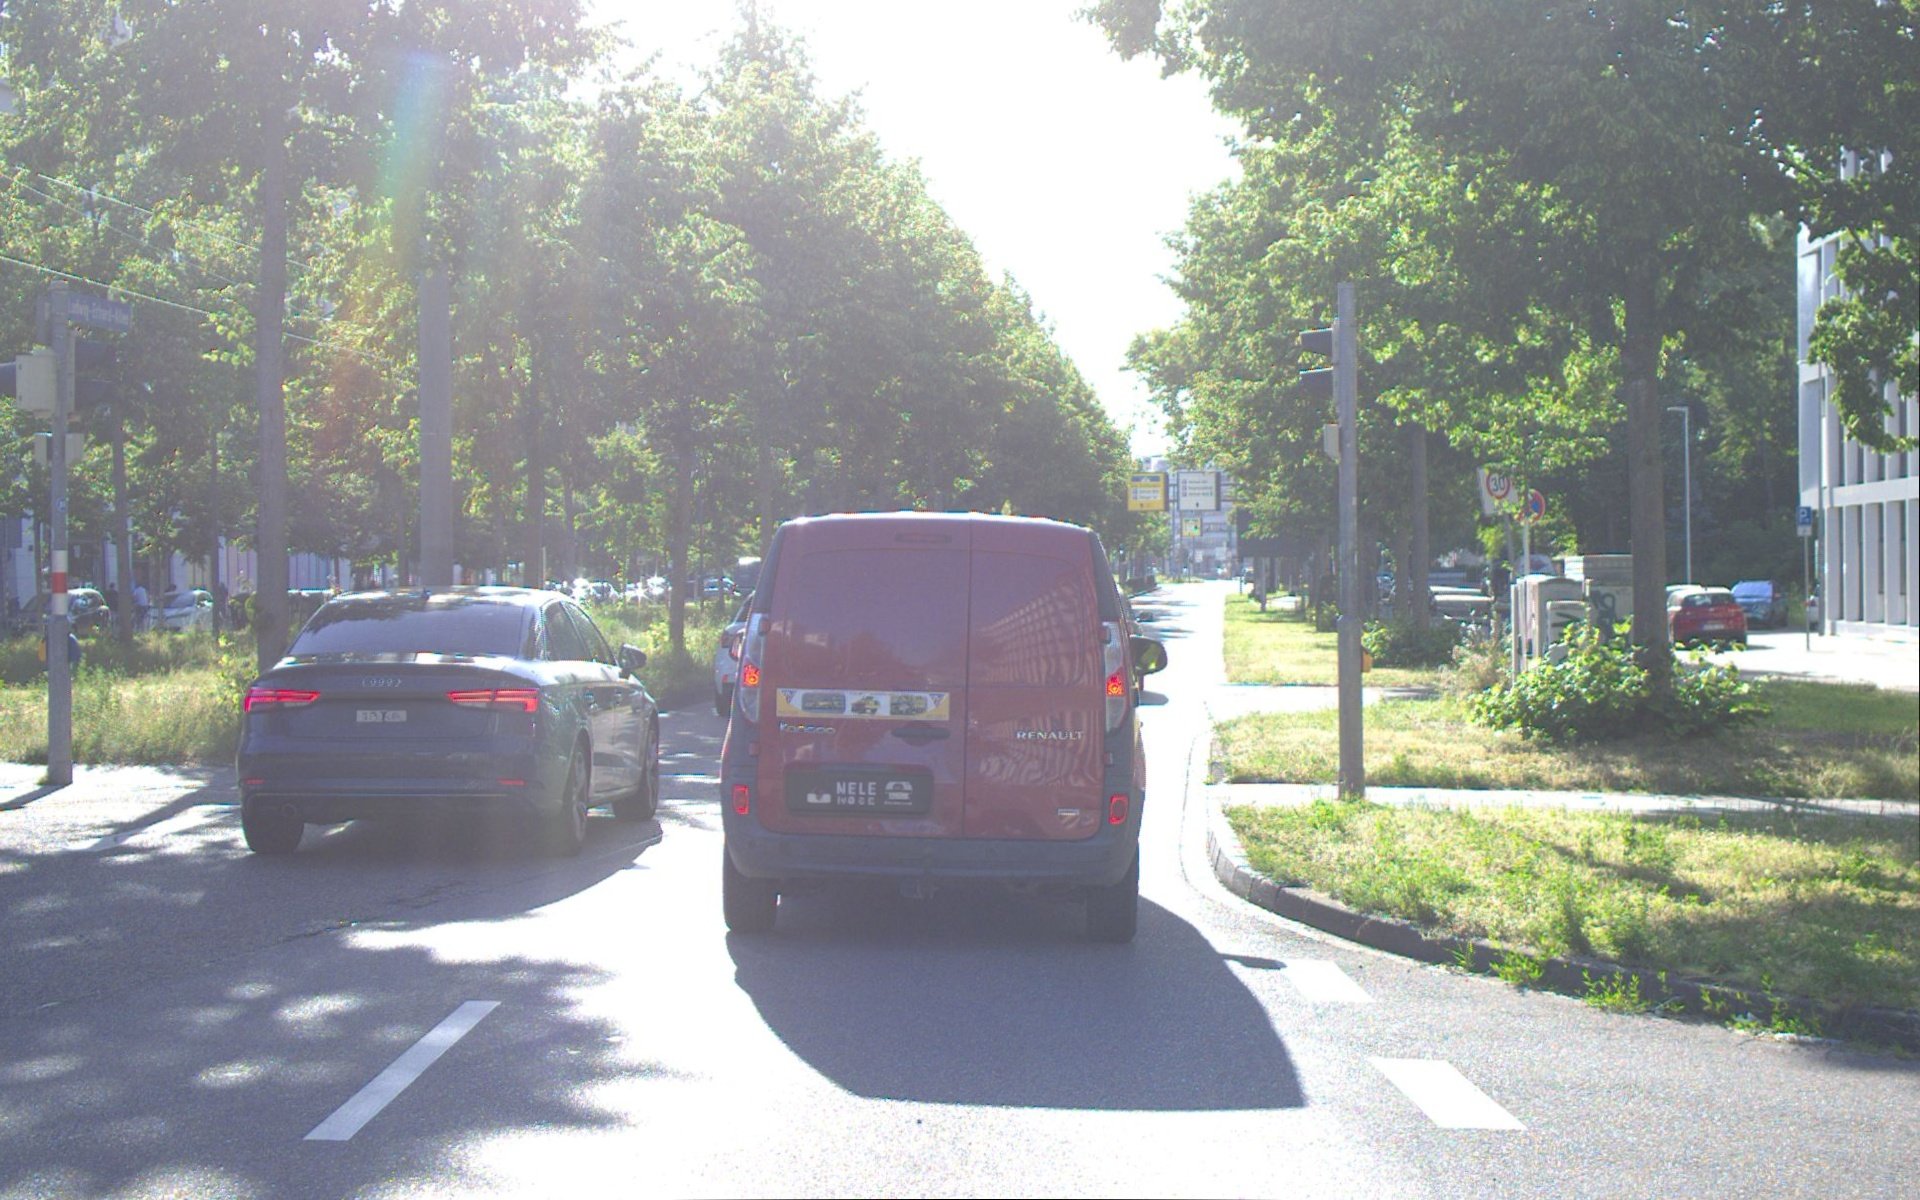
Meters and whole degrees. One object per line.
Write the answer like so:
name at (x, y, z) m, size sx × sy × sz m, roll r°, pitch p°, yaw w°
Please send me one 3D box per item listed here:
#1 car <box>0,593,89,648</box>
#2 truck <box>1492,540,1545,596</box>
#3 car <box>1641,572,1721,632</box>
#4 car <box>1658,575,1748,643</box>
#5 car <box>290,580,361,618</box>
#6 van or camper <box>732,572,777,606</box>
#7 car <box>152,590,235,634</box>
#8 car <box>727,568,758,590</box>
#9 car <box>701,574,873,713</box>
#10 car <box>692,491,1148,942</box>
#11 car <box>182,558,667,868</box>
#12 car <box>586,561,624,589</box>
car at (-26.191, 0.568, 97.468) m, size 1.776 × 1.523 × 3.805 m, roll 0°, pitch 0°, yaw 4°
truck at (25.166, -1.429, 154.988) m, size 1.832 × 2.492 × 5.932 m, roll 0°, pitch 0°, yaw 4°
car at (18.751, 0.027, 89.498) m, size 1.820 × 1.527 × 3.436 m, roll 0°, pitch 0°, yaw 8°
car at (18.237, 0.200, 84.516) m, size 1.758 × 1.606 × 3.902 m, roll 0°, pitch 1°, yaw 6°
car at (-22.615, -0.039, 122.620) m, size 1.580 × 1.338 × 3.711 m, roll 0°, pitch 0°, yaw 4°
van or camper at (-10.457, -0.566, 175.385) m, size 1.821 × 1.732 × 3.711 m, roll 0°, pitch 0°, yaw 4°
car at (-24.540, 0.376, 110.148) m, size 1.580 × 1.338 × 3.711 m, roll 0°, pitch 0°, yaw 4°
car at (-15.157, -1.479, 239.612) m, size 1.602 × 1.551 × 3.999 m, roll 0°, pitch 1°, yaw 4°
car at (-1.917, 0.440, 38.211) m, size 1.808 × 1.430 × 4.113 m, roll 0°, pitch 1°, yaw -3°
car at (-0.156, 0.424, 15.740) m, size 1.808 × 1.788 × 4.113 m, roll 0°, pitch 1°, yaw 0°
car at (-2.816, 0.531, 18.985) m, size 1.808 × 1.522 × 4.112 m, roll 0°, pitch 1°, yaw 3°
car at (-22.642, -1.579, 219.460) m, size 1.732 × 1.766 × 3.999 m, roll 0°, pitch 0°, yaw 4°
